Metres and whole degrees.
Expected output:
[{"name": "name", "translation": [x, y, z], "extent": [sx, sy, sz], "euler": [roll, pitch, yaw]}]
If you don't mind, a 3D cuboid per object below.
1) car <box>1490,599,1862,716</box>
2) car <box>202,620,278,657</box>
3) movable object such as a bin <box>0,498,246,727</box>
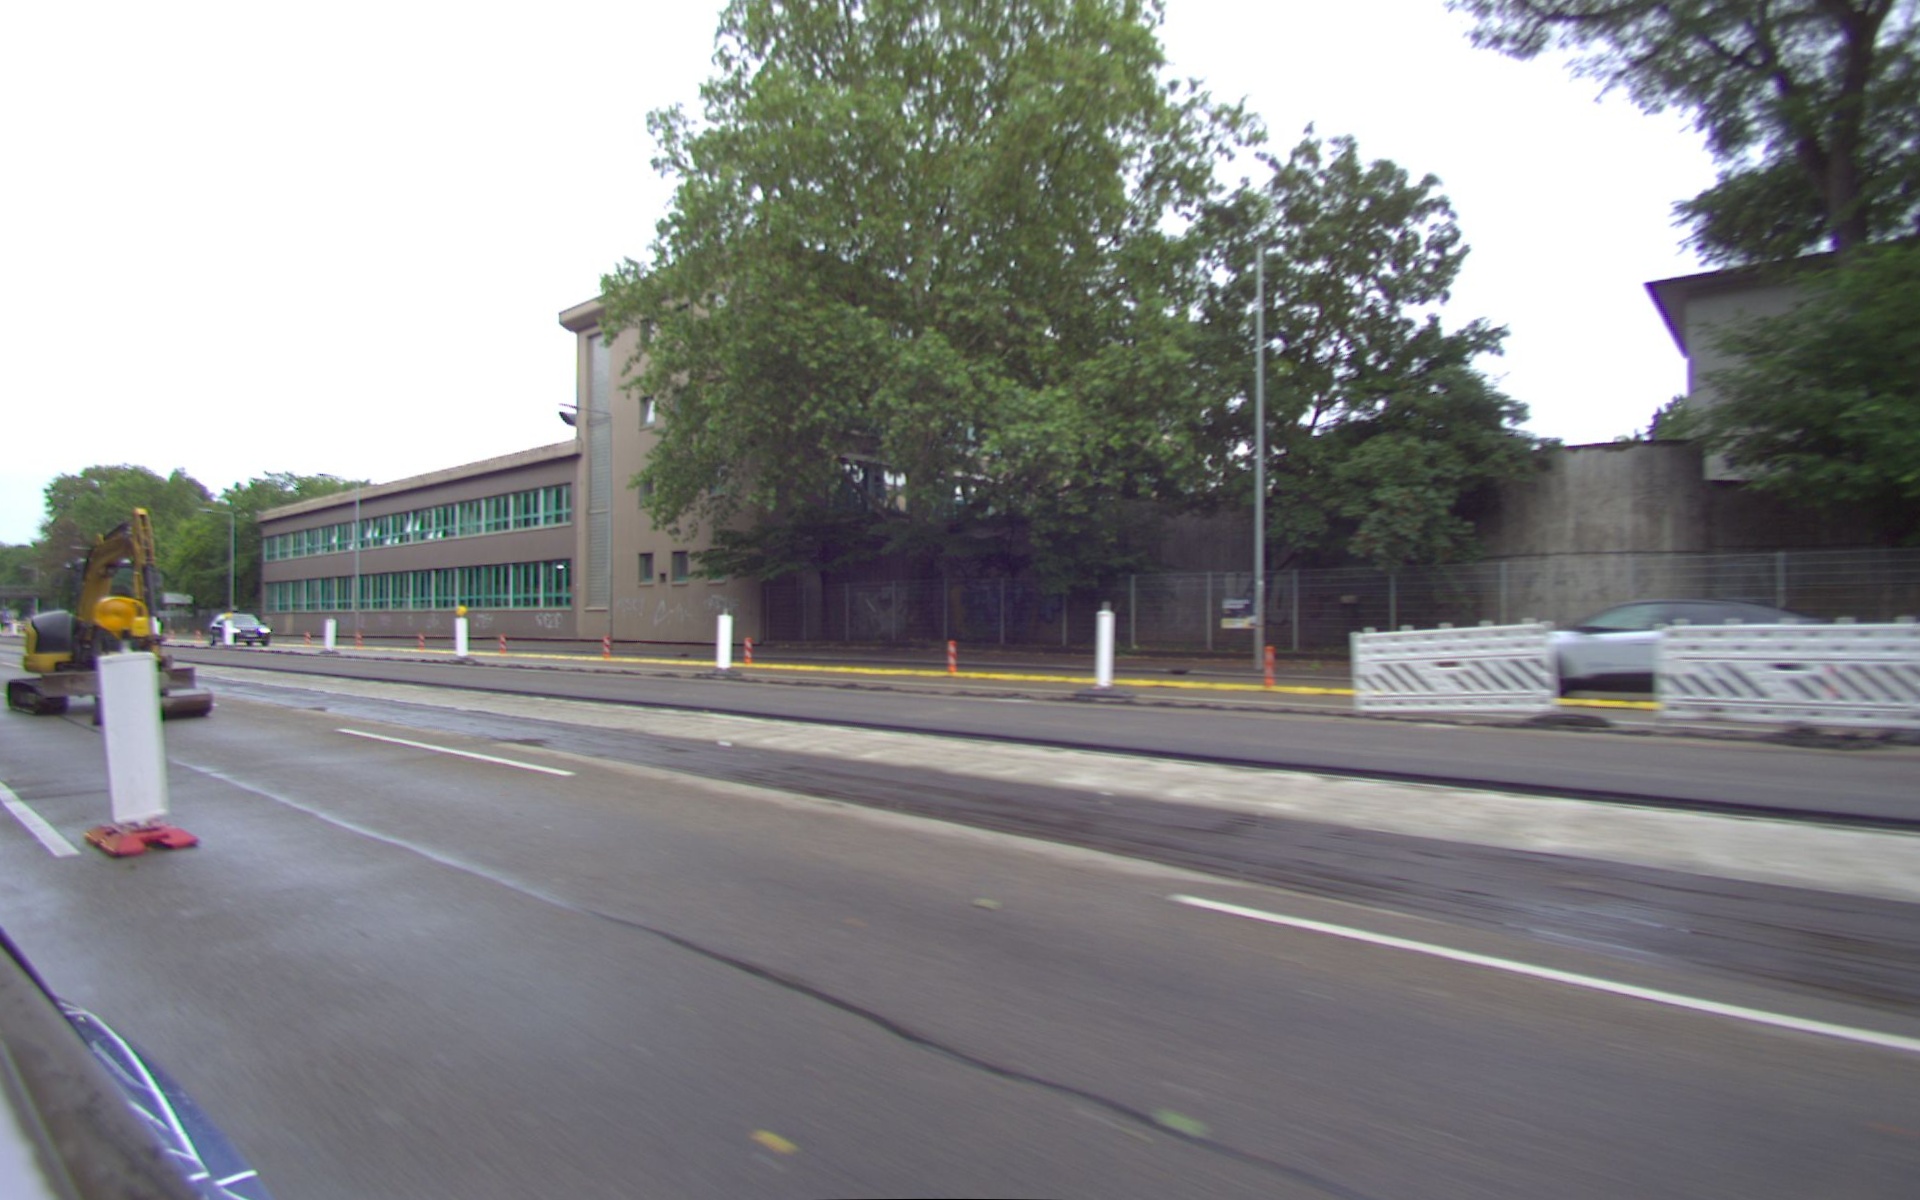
[{"name": "car", "translation": [10.124, 0.752, 14.528], "extent": [4.146, 1.445, 1.817], "euler": [-1, -1, 41]}, {"name": "car", "translation": [-37.164, 2.026, 52.191], "extent": [4.981, 1.719, 1.973], "euler": [-3, -7, 41]}, {"name": "movable object such as a bin", "translation": [-13.657, 0.227, 16.351], "extent": [5.617, 3.125, 1.974], "euler": [-1, -1, 39]}]
